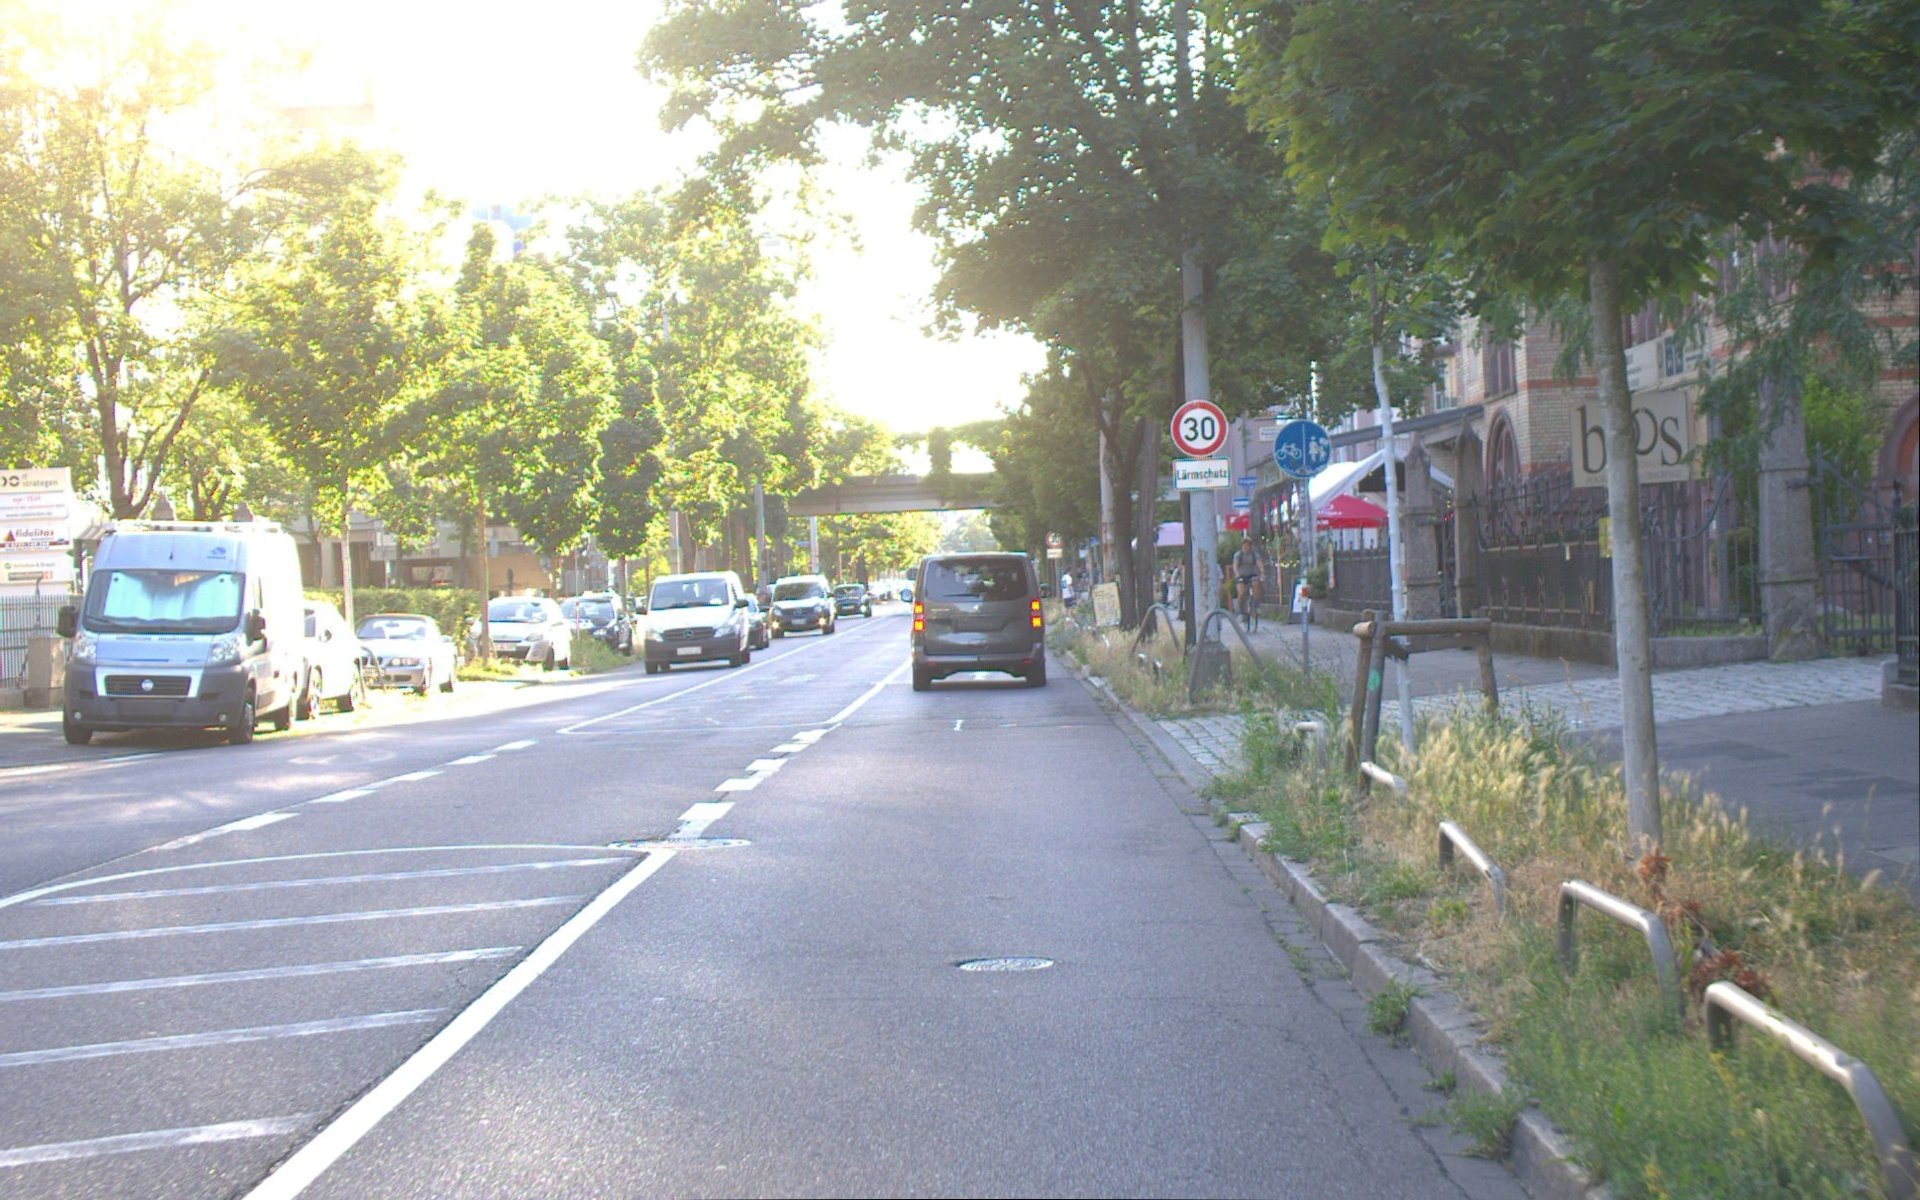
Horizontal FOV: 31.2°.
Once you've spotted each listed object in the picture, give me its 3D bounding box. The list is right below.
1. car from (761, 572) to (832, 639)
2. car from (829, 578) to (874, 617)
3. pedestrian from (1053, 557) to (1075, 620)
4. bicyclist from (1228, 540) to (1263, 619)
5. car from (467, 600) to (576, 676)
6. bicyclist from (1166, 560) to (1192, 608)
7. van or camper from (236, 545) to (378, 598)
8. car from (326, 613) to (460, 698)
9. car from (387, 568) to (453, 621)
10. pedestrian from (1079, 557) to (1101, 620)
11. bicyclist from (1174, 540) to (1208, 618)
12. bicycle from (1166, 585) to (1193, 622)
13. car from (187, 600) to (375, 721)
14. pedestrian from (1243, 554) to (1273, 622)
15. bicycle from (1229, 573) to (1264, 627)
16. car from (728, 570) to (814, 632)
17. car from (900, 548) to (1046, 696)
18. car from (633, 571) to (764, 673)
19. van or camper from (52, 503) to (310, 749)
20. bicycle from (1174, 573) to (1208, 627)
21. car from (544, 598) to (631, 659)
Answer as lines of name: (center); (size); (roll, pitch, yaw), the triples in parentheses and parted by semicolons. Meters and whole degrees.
car: (-4.914, 0.136, 103.625); (1.833, 1.846, 4.474); (-4, 1, 0)
car: (-4.633, -0.108, 147.370); (1.679, 1.525, 4.000); (-4, 0, 1)
pedestrian: (3.149, -0.353, 103.725); (0.504, 1.882, 0.545); (-1, 0, -14)
bicyclist: (5.584, -0.399, 67.177); (0.595, 1.527, 0.893); (-1, 0, 1)
car: (-8.855, 0.747, 69.673); (1.697, 1.447, 4.000); (-1, 1, 0)
bicyclist: (5.603, -0.411, 87.837); (0.585, 1.232, 1.112); (-1, 0, 0)
van or camper: (-32.589, -1.418, 171.702); (6.563, 2.513, 2.449); (-1, 0, -1)
car: (-9.000, 0.857, 54.798); (1.536, 1.244, 3.614); (-1, 1, 0)
car: (-24.145, -0.279, 153.864); (1.993, 2.300, 5.245); (-1, 0, 1)
pedestrian: (3.905, -0.347, 103.419); (0.504, 1.882, 0.545); (-1, 0, -14)
bicyclist: (4.585, -0.412, 68.234); (0.595, 1.527, 0.893); (-1, 0, 1)
bicycle: (5.604, 0.083, 87.772); (0.579, 0.894, 1.987); (-1, 0, 1)
car: (-9.348, 0.803, 47.637); (1.746, 1.529, 4.303); (-1, 1, 0)
pedestrian: (7.194, -0.282, 83.022); (0.644, 1.627, 0.656); (-1, 0, 1)
bicycle: (5.592, -0.009, 67.173); (0.517, 1.036, 2.089); (-1, 0, 0)
car: (-4.656, 0.003, 85.314); (1.759, 1.381, 4.304); (-4, 1, 1)
car: (0.225, 0.271, 48.789); (1.887, 1.918, 3.839); (-3, 1, 2)
car: (-5.180, 0.406, 68.685); (1.993, 1.825, 5.169); (-4, 0, 1)
van or camper: (-9.068, 0.257, 40.542); (1.993, 2.659, 6.039); (-1, 0, -4)
bicycle: (4.573, -0.006, 68.221); (0.544, 1.036, 2.089); (-1, 0, 0)
car: (-8.887, 0.661, 82.249); (1.638, 1.381, 4.000); (-1, 1, 0)
